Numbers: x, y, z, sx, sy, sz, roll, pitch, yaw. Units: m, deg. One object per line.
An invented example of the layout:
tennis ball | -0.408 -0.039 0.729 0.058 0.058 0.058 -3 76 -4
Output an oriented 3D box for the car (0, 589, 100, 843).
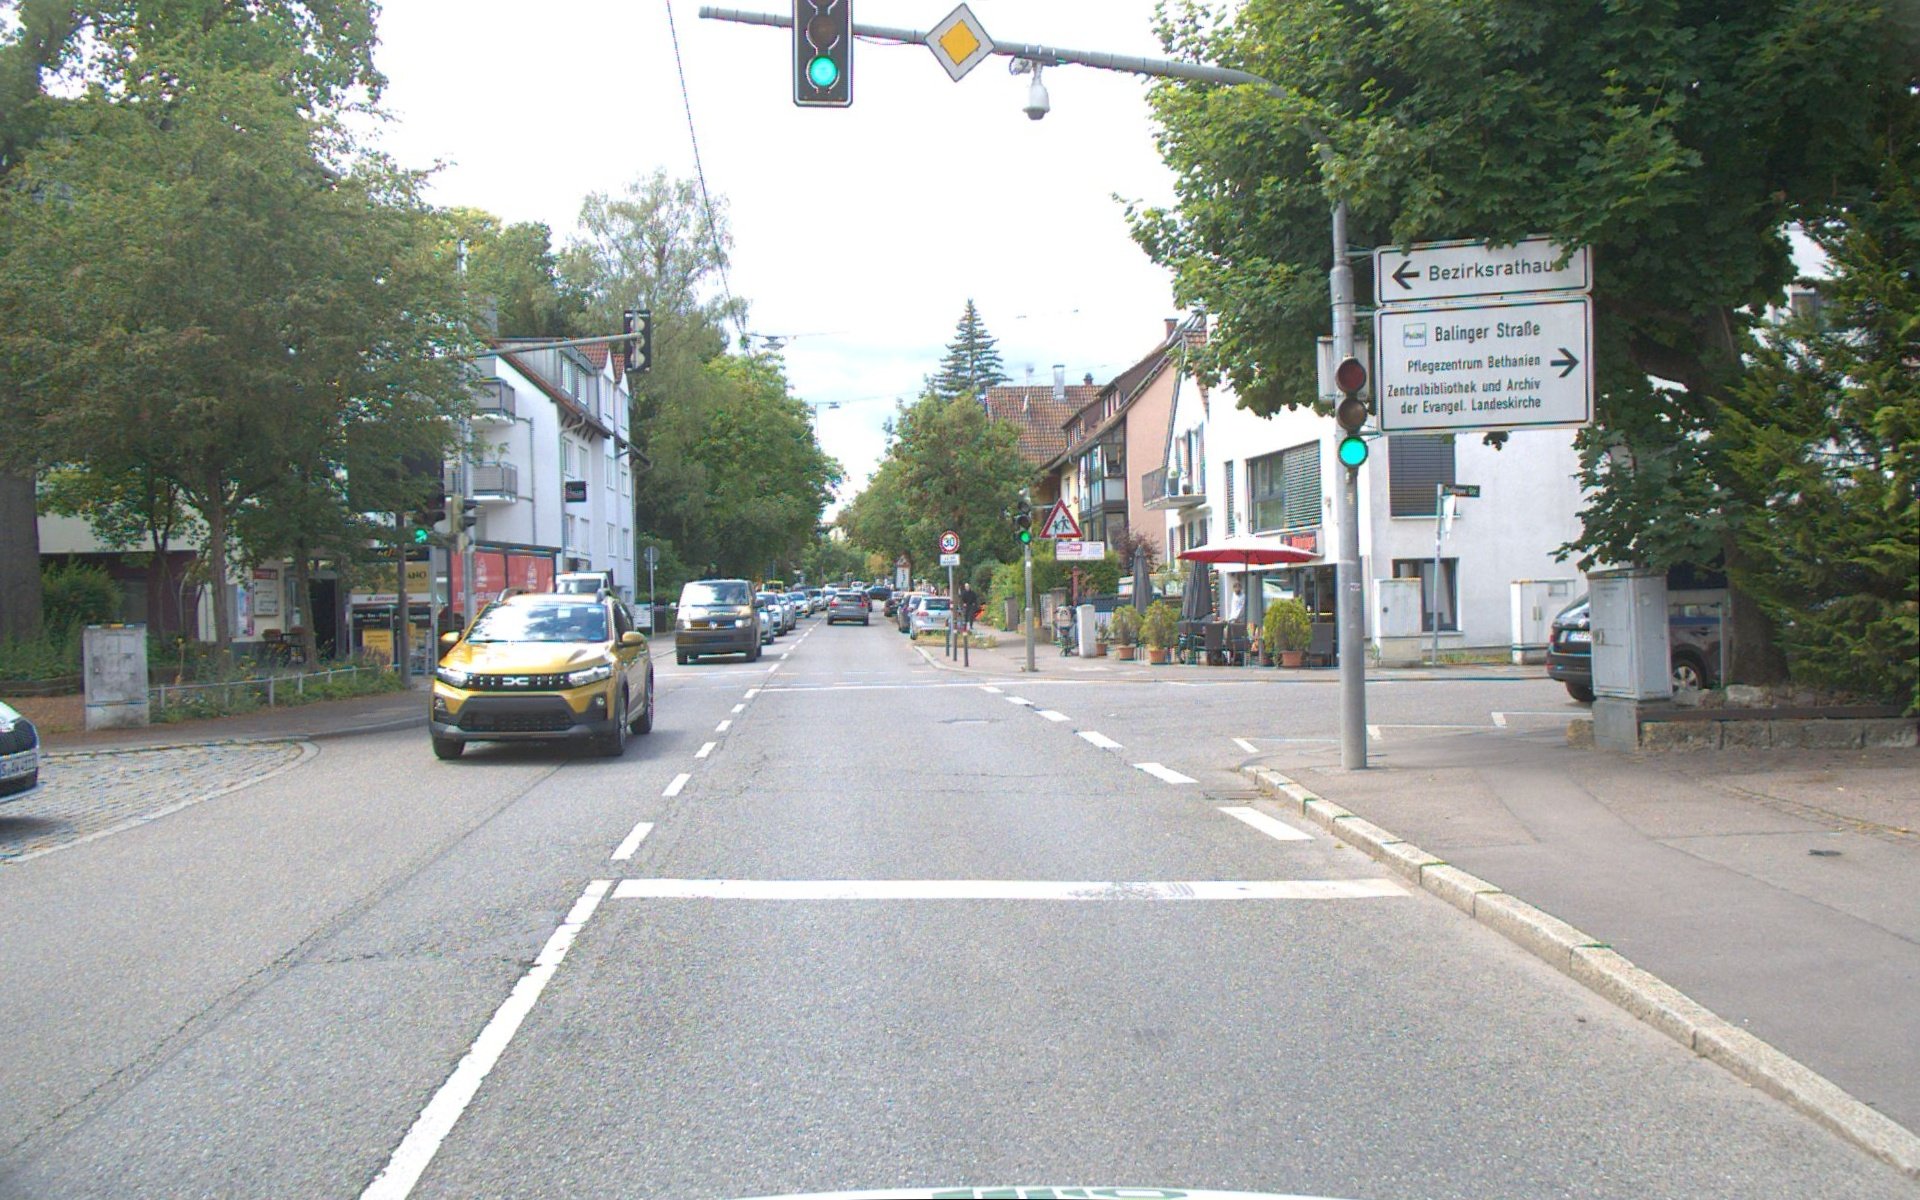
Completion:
car | -8.030 0.749 10.501 4.129 1.540 1.821 -1 1 -5

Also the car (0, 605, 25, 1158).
car | -3.306 0.770 2.337 1.837 1.449 4.112 -1 0 -4

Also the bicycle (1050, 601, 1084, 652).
bicycle | 2.578 0.626 39.955 0.706 1.170 2.213 -1 0 1

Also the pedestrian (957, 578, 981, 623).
pedestrian | 0.341 0.016 64.675 0.863 1.742 0.842 -1 0 -3

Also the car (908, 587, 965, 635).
car | -0.815 0.326 55.137 1.667 1.506 4.869 0 1 -4

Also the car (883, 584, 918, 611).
car | -3.388 -0.173 93.686 1.766 1.470 4.882 1 1 -5

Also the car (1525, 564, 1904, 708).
car | 9.032 0.363 19.821 4.111 1.440 1.769 -3 2 -21

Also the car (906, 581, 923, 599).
car | -5.352 -1.126 193.749 1.953 2.049 3.998 -1 0 -2

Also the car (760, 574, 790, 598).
car | -16.498 -1.248 147.673 2.102 2.015 4.929 -1 0 -1

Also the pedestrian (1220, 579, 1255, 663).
pedestrian | 5.986 0.456 35.719 0.422 1.792 0.670 -1 0 -25

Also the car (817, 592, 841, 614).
car | -10.415 0.200 131.933 1.750 1.619 4.151 -3 1 -3

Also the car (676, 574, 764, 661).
car | -5.703 0.380 39.786 1.840 1.946 4.746 -1 1 -6

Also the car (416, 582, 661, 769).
car | -4.031 0.635 16.436 1.694 1.565 3.996 -1 1 -5

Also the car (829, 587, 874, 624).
car | -4.865 0.240 74.558 1.937 1.539 4.264 2 1 -3

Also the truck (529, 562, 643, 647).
truck | -11.528 0.135 51.436 2.179 2.421 6.324 -1 0 -1

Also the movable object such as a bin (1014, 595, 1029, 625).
movable object such as a bin | 2.254 0.369 60.733 0.512 1.099 0.604 -1 0 2

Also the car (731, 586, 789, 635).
car | -7.222 0.351 60.029 1.770 1.598 4.156 -3 1 -4

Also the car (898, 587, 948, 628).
car | -1.451 0.261 63.666 1.700 1.453 4.879 1 1 -4

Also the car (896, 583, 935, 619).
car | -2.046 0.040 74.950 1.590 1.534 3.776 -2 1 -4

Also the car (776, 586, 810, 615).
car | -9.346 0.010 92.903 1.725 1.464 3.967 -3 1 -4

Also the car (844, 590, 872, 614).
car | -6.860 0.119 111.228 1.779 1.527 4.265 0 1 -3

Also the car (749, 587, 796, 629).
car | -7.664 0.316 67.951 1.695 1.528 4.372 -4 1 -5

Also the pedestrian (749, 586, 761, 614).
pedestrian | -13.215 0.017 106.580 0.701 1.792 1.119 -1 0 -9

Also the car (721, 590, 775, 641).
car | -6.645 0.469 52.163 1.586 1.512 3.808 -1 1 -6

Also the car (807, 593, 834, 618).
car | -10.253 0.403 121.468 1.751 1.676 4.488 -3 1 -3

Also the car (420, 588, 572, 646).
car | -12.309 0.440 44.059 3.623 1.450 1.802 -1 0 -8

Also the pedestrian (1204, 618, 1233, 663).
pedestrian | 5.558 0.872 35.579 0.413 0.954 0.494 -1 0 -25

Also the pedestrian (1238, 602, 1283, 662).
pedestrian | 5.699 0.598 31.343 0.560 1.108 0.628 -1 0 -29
